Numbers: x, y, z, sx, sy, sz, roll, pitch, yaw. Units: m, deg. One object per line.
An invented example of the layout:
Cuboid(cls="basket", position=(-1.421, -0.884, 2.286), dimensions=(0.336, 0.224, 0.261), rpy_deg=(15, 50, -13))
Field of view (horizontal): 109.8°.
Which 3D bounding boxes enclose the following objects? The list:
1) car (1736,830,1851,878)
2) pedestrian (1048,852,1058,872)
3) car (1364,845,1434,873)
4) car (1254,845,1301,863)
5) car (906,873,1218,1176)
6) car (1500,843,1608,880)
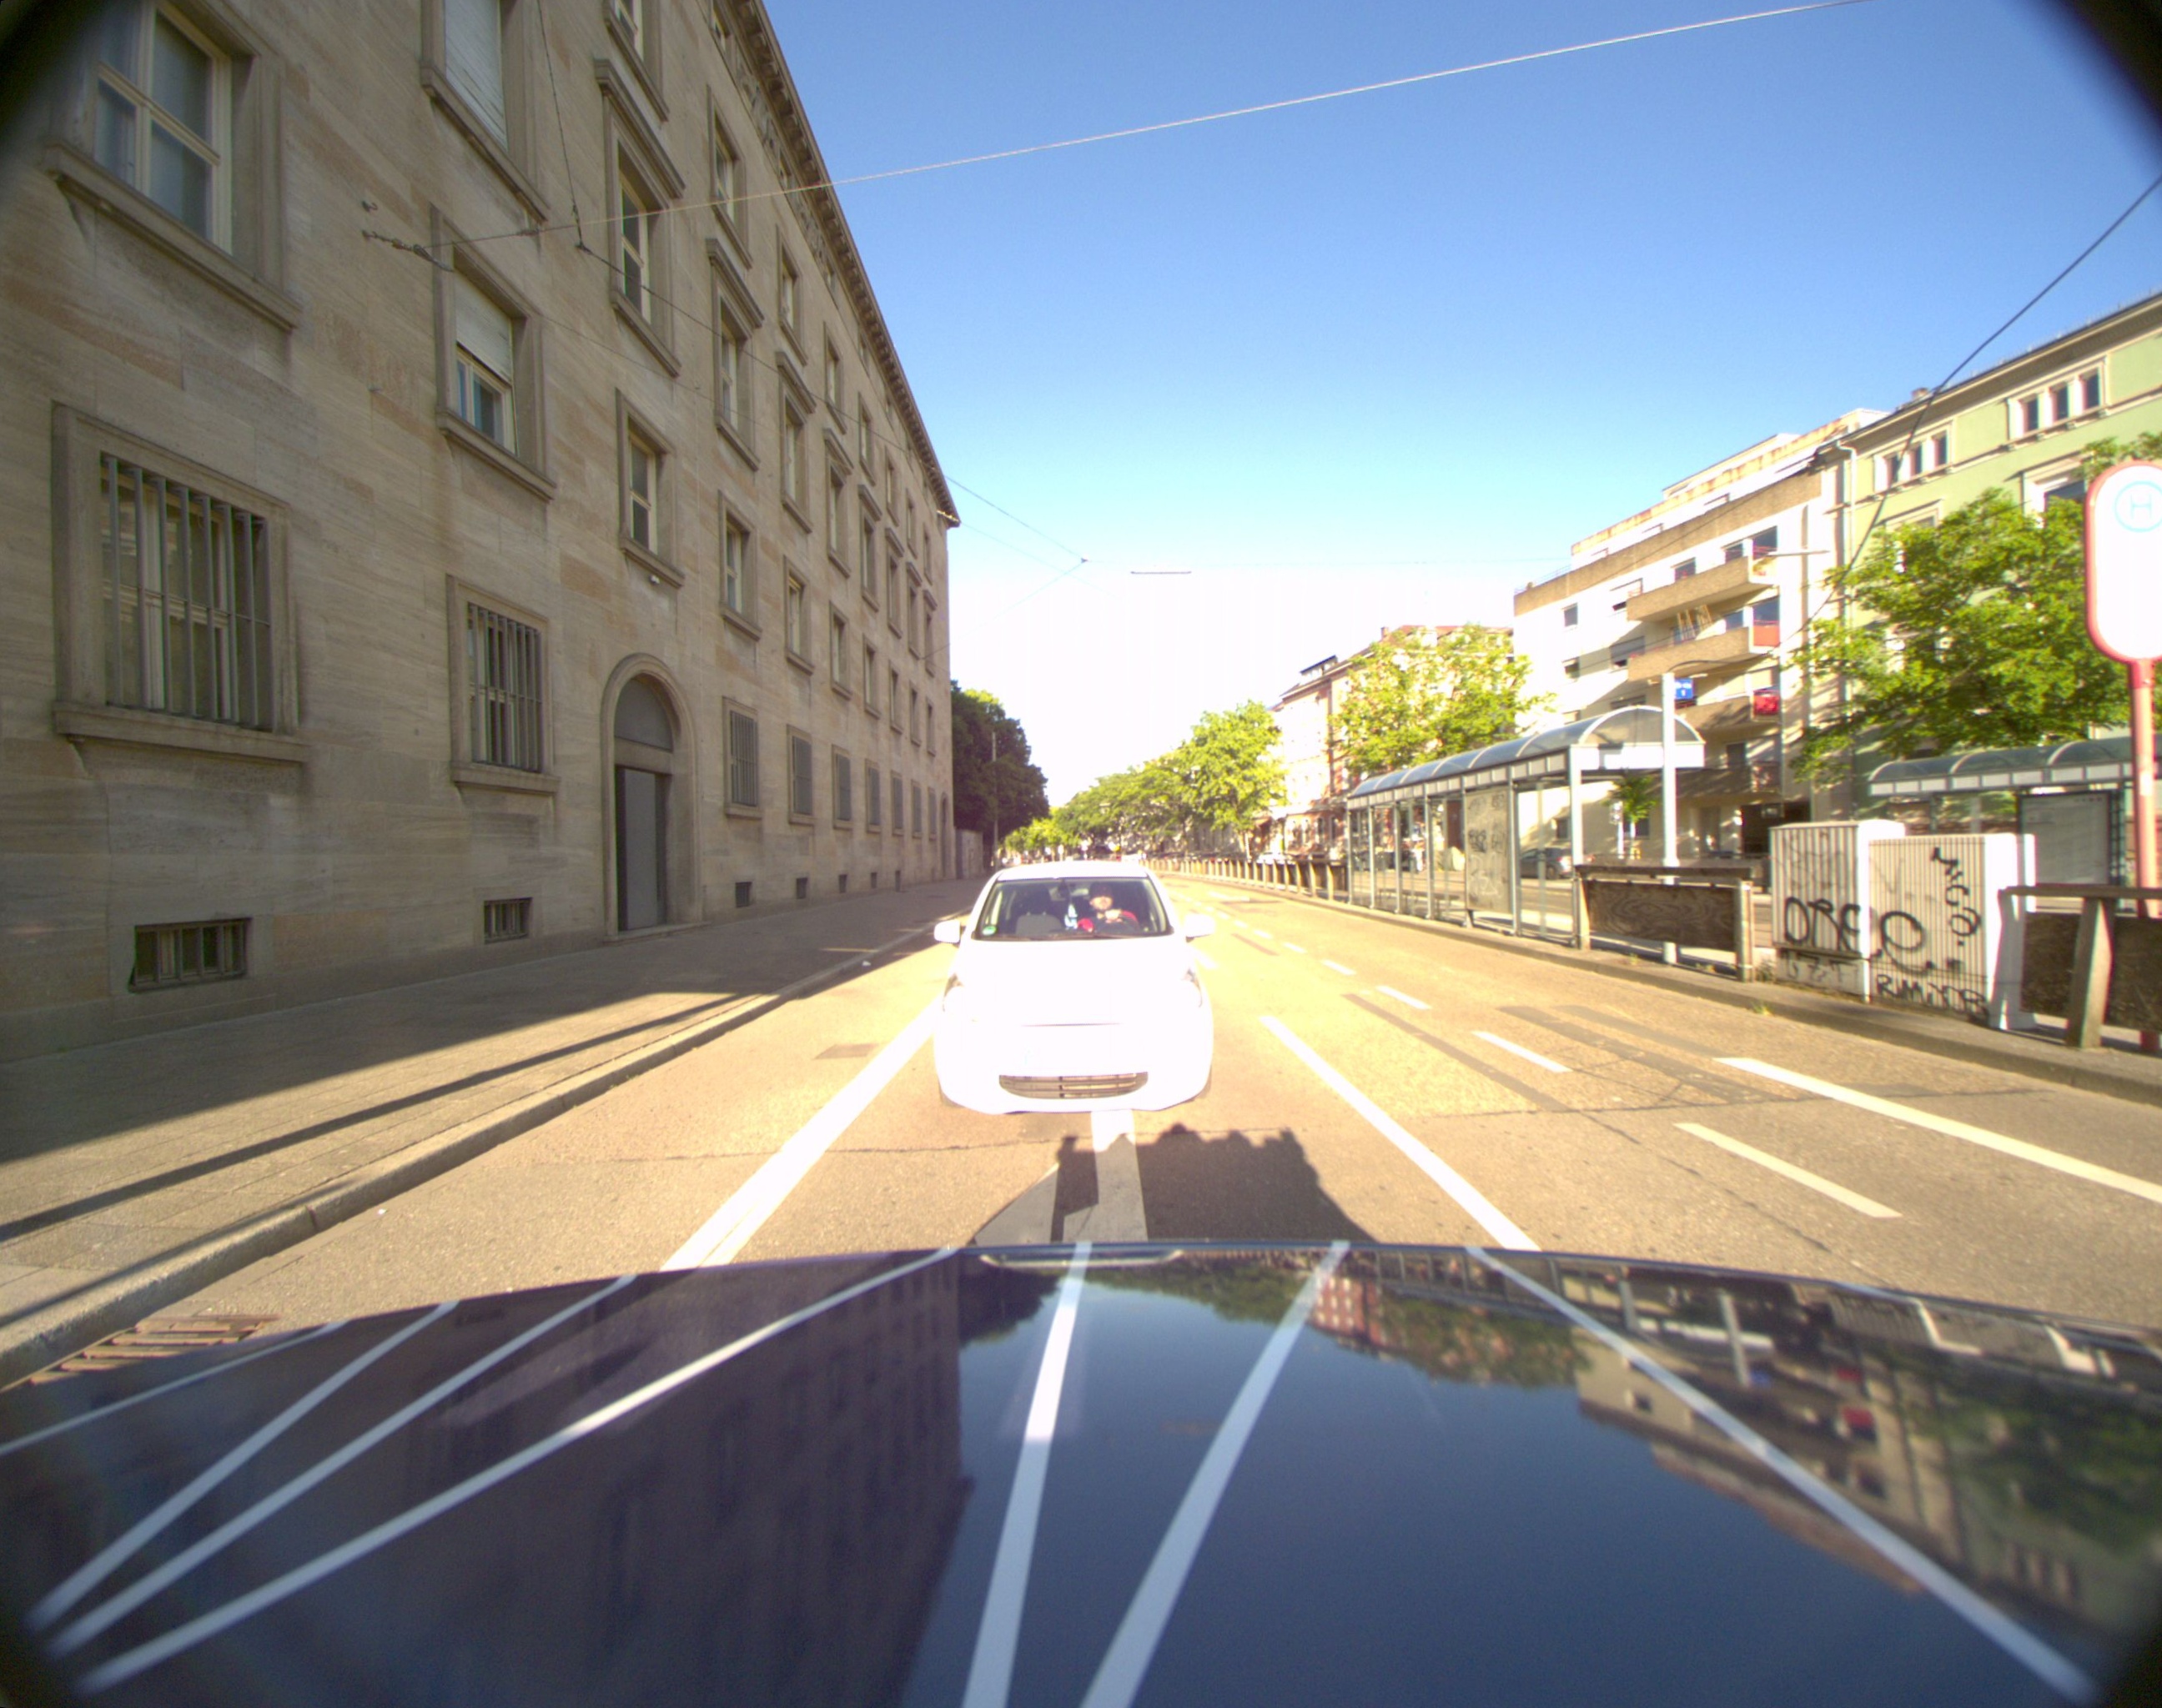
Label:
Cuboid(cls="car", position=(31.410, -0.001, 33.524), dimensions=(4.001, 2.002, 1.798), rpy_deg=(-1, 1, -13))
Cuboid(cls="pedestrian", position=(-2.368, 0.664, 63.839), dimensions=(0.687, 1.673, 0.928), rpy_deg=(-1, 1, -9))
Cuboid(cls="car", position=(18.415, 0.281, 44.157), dimensions=(2.000, 1.521, 3.997), rpy_deg=(-1, 0, -8))
Cuboid(cls="car", position=(16.385, 0.005, 63.324), dimensions=(3.648, 1.342, 1.578), rpy_deg=(-2, 1, -29))
Cuboid(cls="car", position=(-0.075, 0.942, 5.801), dimensions=(1.606, 1.455, 3.621), rpy_deg=(-1, 0, 1))
Cuboid(cls="car", position=(21.044, 0.321, 34.007), dimensions=(2.000, 1.521, 3.997), rpy_deg=(0, 0, -8))
